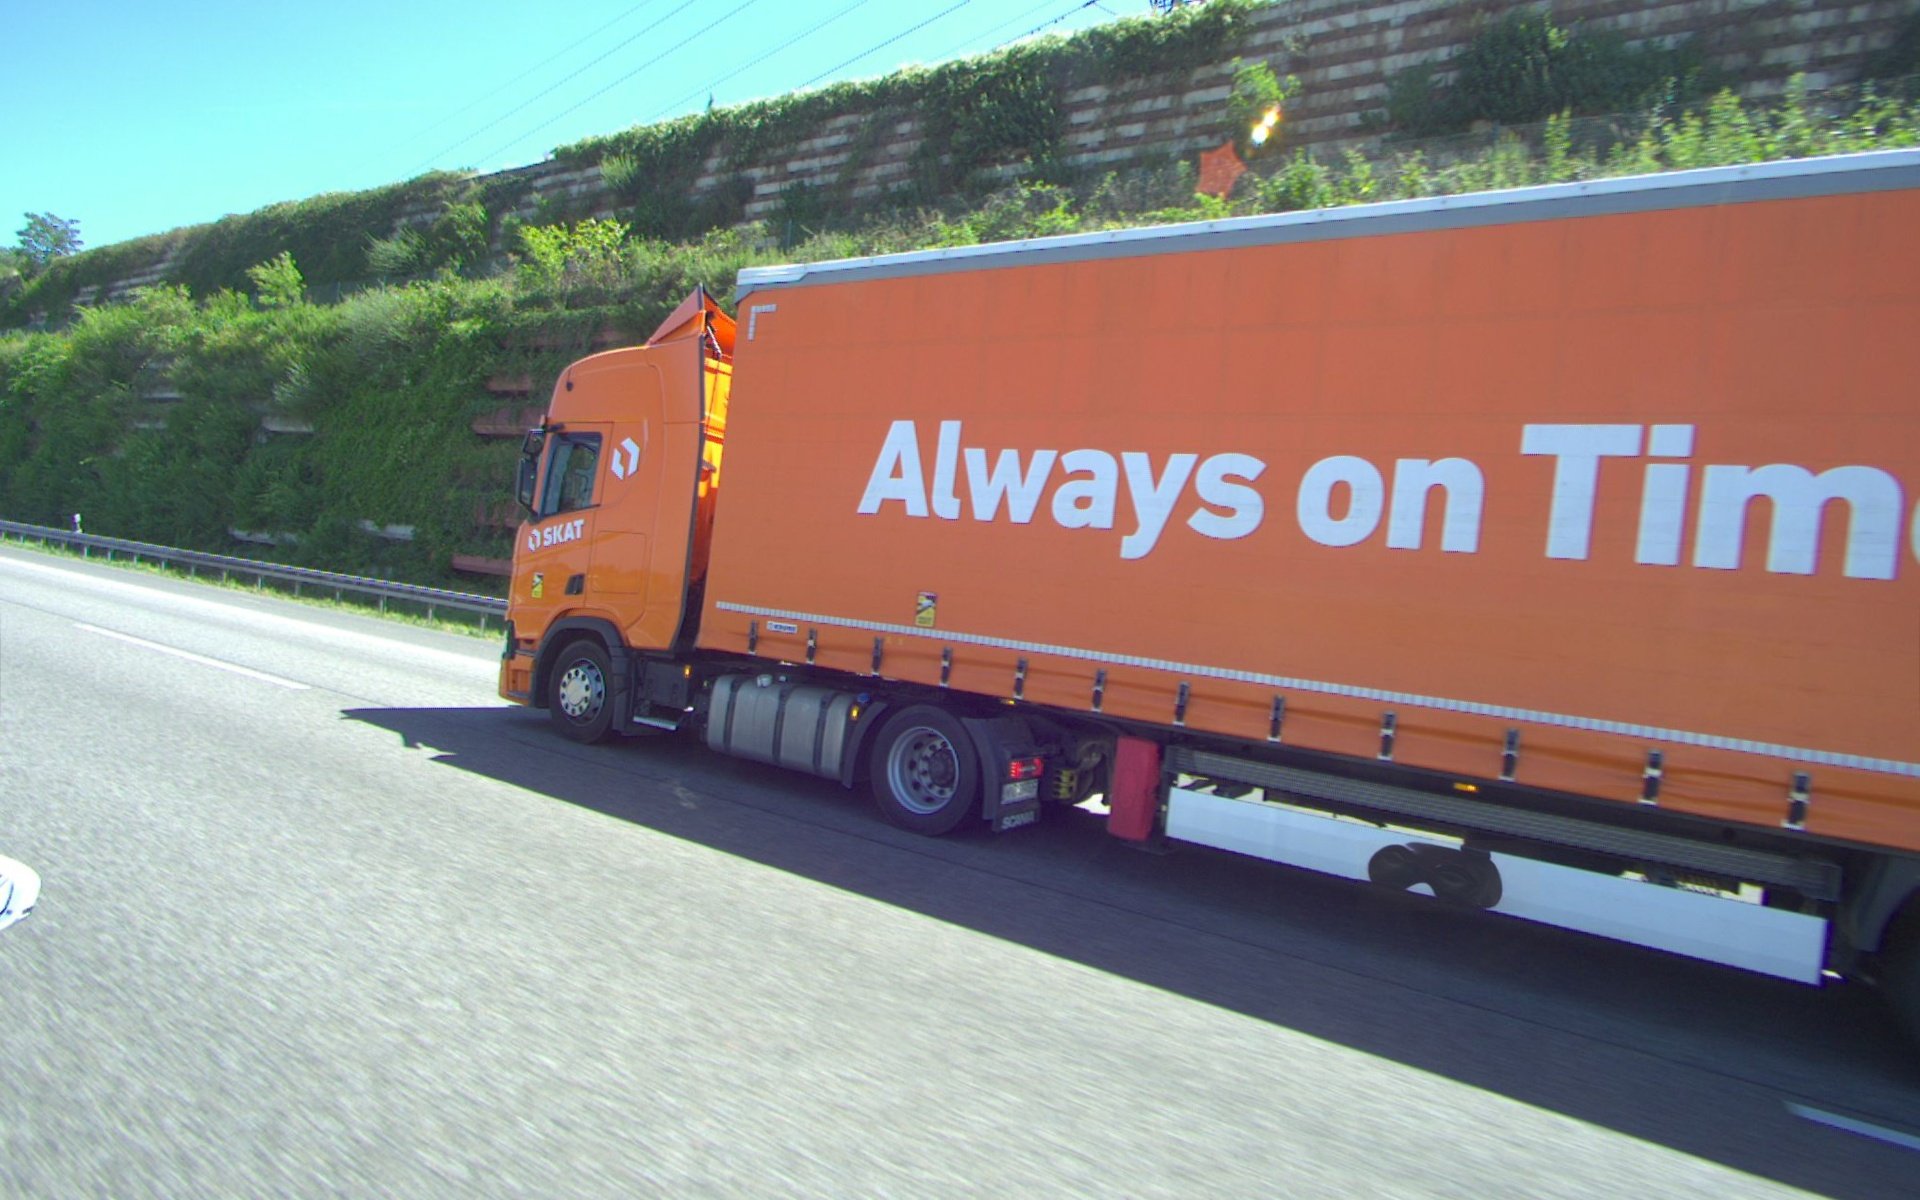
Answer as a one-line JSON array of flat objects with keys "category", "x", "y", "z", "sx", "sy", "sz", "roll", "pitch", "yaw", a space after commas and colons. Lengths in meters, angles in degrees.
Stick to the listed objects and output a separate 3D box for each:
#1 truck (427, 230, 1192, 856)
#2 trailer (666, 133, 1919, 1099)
[{"category": "truck", "x": -1.607, "y": -0.562, "z": 9.264, "sx": 6.418, "sy": 4.041, "sz": 2.621, "roll": 7, "pitch": 0, "yaw": 32}, {"category": "trailer", "x": 4.212, "y": 0.081, "z": 5.677, "sx": 13.380, "sy": 4.053, "sz": 2.649, "roll": 6, "pitch": -1, "yaw": 32}]
